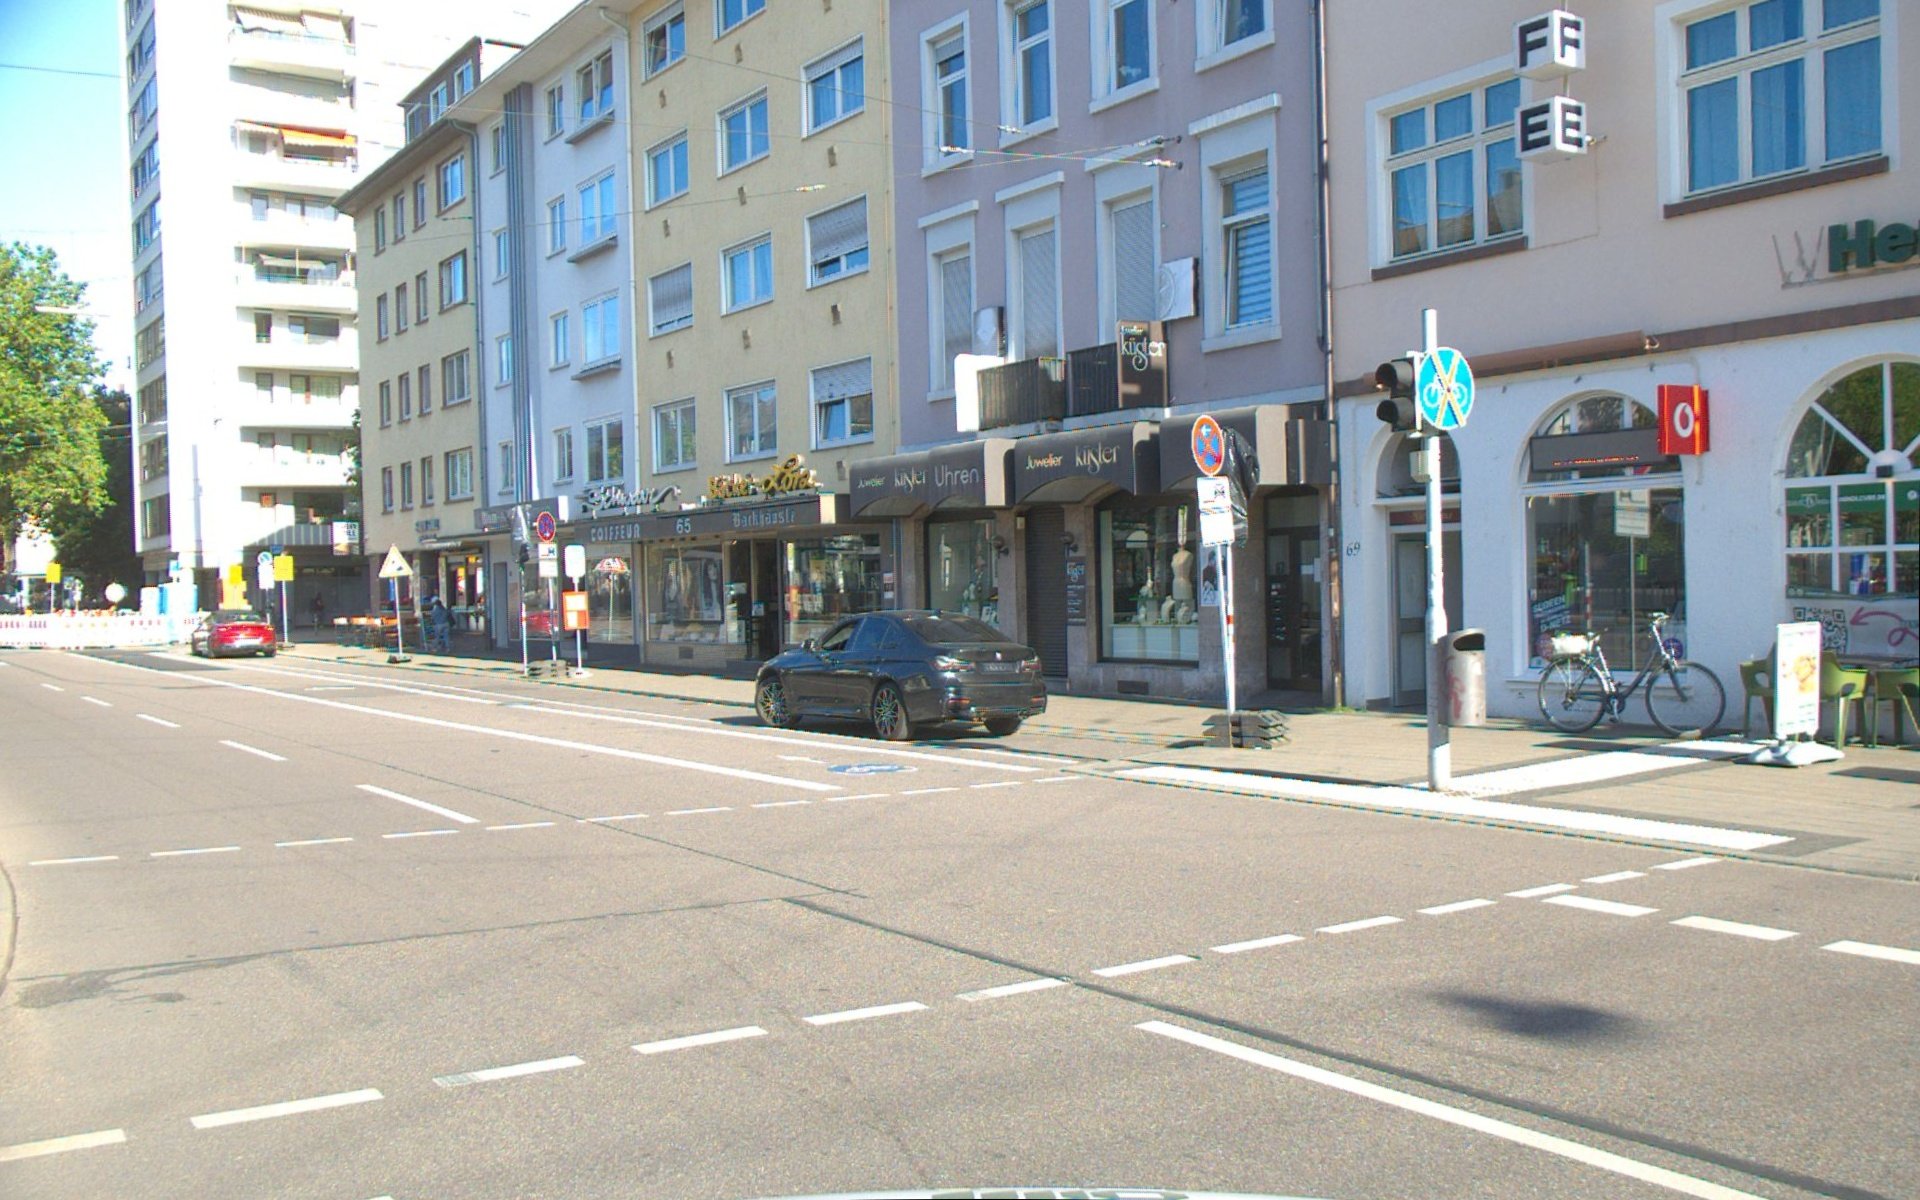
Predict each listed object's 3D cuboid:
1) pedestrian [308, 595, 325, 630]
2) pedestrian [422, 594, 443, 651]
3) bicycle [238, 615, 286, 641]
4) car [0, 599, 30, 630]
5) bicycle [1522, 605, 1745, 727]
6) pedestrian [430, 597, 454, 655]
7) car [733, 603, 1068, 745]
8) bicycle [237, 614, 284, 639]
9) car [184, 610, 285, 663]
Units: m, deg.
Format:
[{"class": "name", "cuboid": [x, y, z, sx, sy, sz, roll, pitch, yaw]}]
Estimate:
[{"class": "pedestrian", "cuboid": [-31.517, 0.587, 81.005, 0.667, 1.670, 0.573, -2, 2, -28]}, {"class": "pedestrian", "cuboid": [-15.818, 0.663, 49.581, 0.466, 1.672, 0.502, -2, 0, -33]}, {"class": "bicycle", "cuboid": [-31.153, 1.226, 73.863, 1.914, 1.086, 0.580, -2, 0, -19]}, {"class": "car", "cuboid": [-65.304, 1.023, 114.085, 1.972, 2.049, 3.961, -2, 1, -29]}, {"class": "bicycle", "cuboid": [6.474, 0.613, 15.988, 0.578, 1.086, 1.920, -2, 1, -41]}, {"class": "pedestrian", "cuboid": [-14.522, 0.730, 46.356, 0.502, 1.589, 0.460, -2, 0, -33]}, {"class": "car", "cuboid": [-0.853, 0.810, 20.019, 1.726, 1.465, 4.592, -2, 1, -37]}, {"class": "bicycle", "cuboid": [-31.524, 1.187, 74.553, 1.914, 1.086, 0.580, -2, 0, -19]}, {"class": "car", "cuboid": [-21.912, 1.066, 49.887, 1.922, 1.455, 3.946, -2, 1, -37]}]
